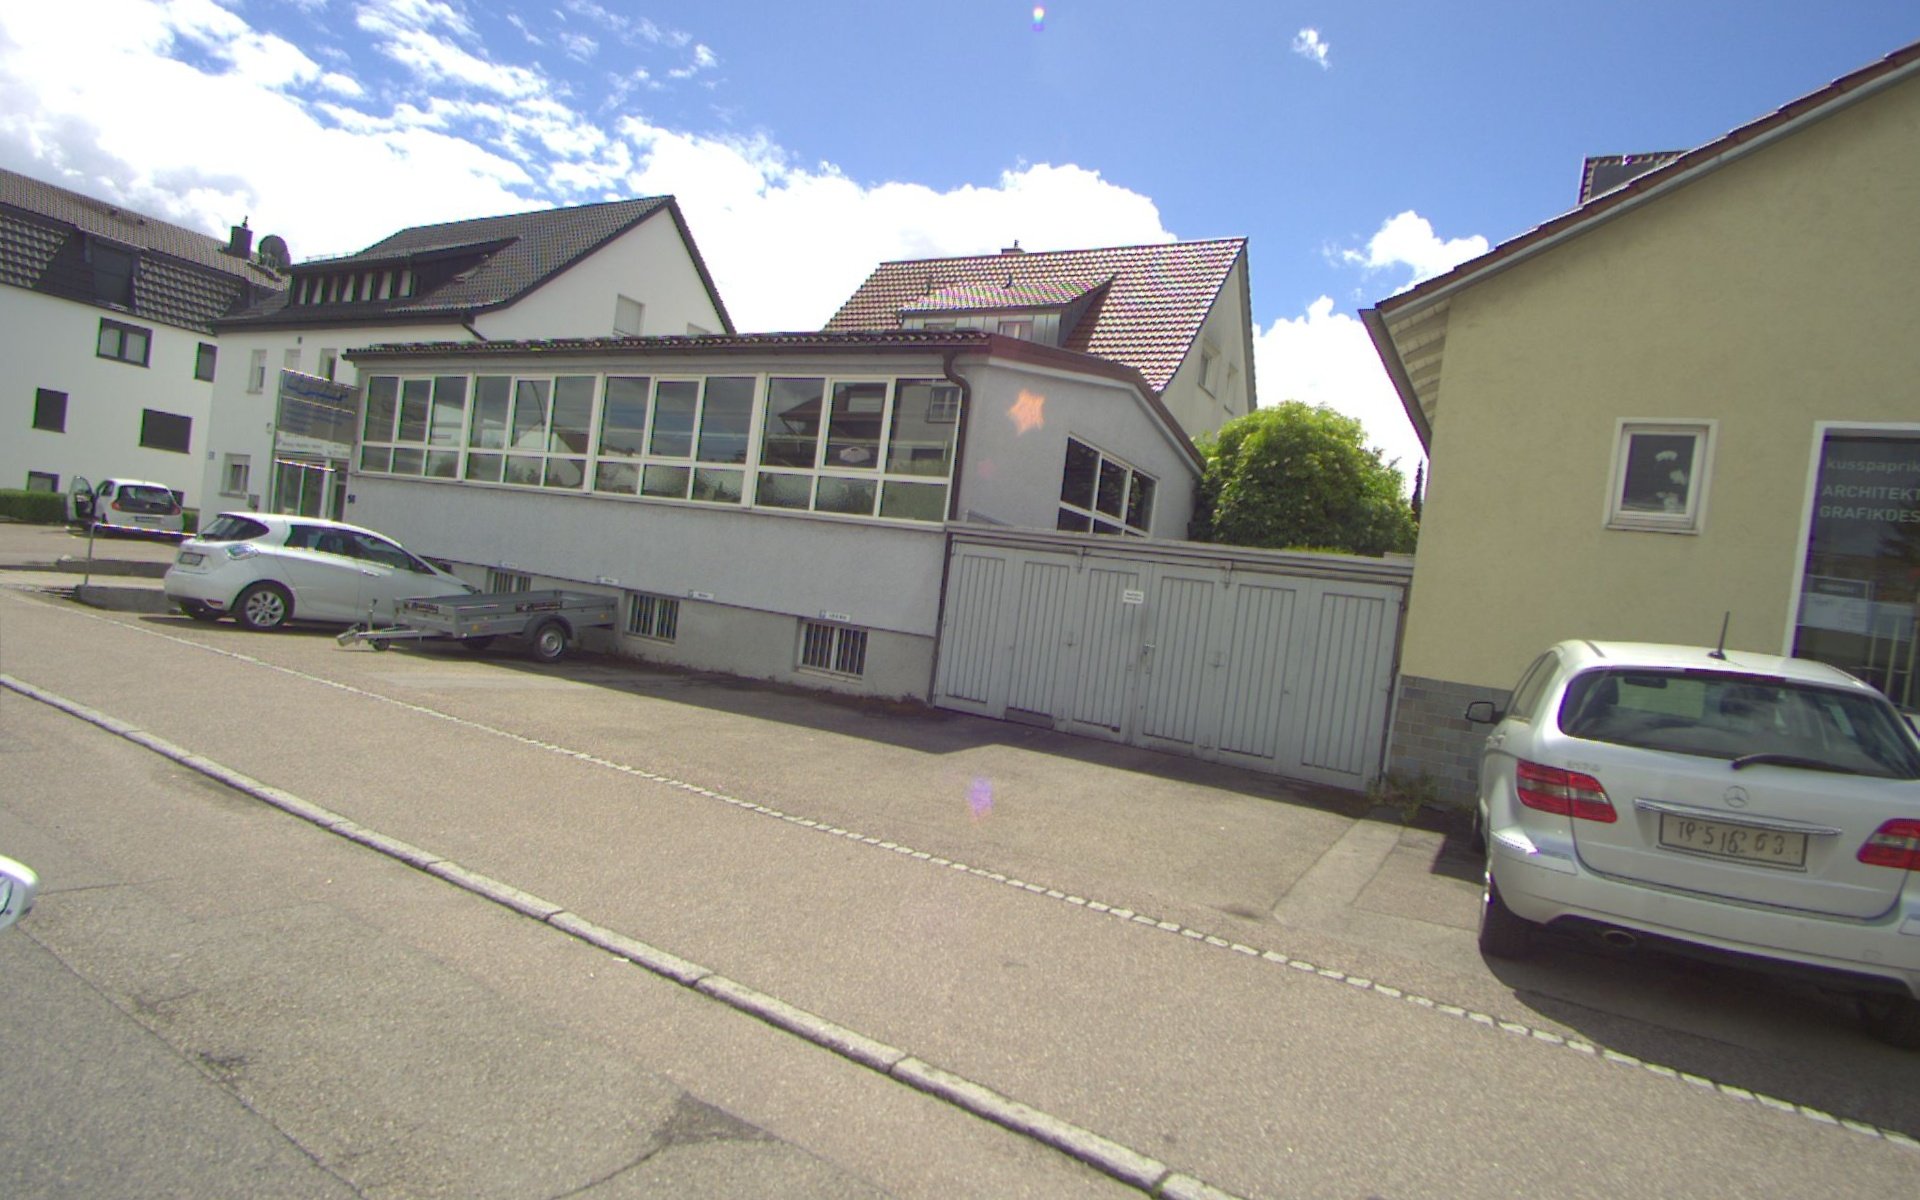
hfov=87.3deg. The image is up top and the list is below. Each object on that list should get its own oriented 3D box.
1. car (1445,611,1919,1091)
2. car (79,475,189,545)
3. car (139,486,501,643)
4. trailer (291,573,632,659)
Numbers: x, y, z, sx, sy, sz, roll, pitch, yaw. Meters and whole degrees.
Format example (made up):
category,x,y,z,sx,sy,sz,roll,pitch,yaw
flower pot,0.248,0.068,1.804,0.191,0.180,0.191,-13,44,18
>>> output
category,x,y,z,sx,sy,sz,roll,pitch,yaw
car,4.162,0.994,5.970,1.941,1.630,4.409,7,3,28
car,-22.567,-2.483,27.438,3.610,1.540,1.628,9,4,39
car,-8.975,-0.414,14.466,1.720,1.627,3.908,7,-2,30
trailer,-6.496,0.271,13.537,1.629,0.818,3.821,7,0,30
